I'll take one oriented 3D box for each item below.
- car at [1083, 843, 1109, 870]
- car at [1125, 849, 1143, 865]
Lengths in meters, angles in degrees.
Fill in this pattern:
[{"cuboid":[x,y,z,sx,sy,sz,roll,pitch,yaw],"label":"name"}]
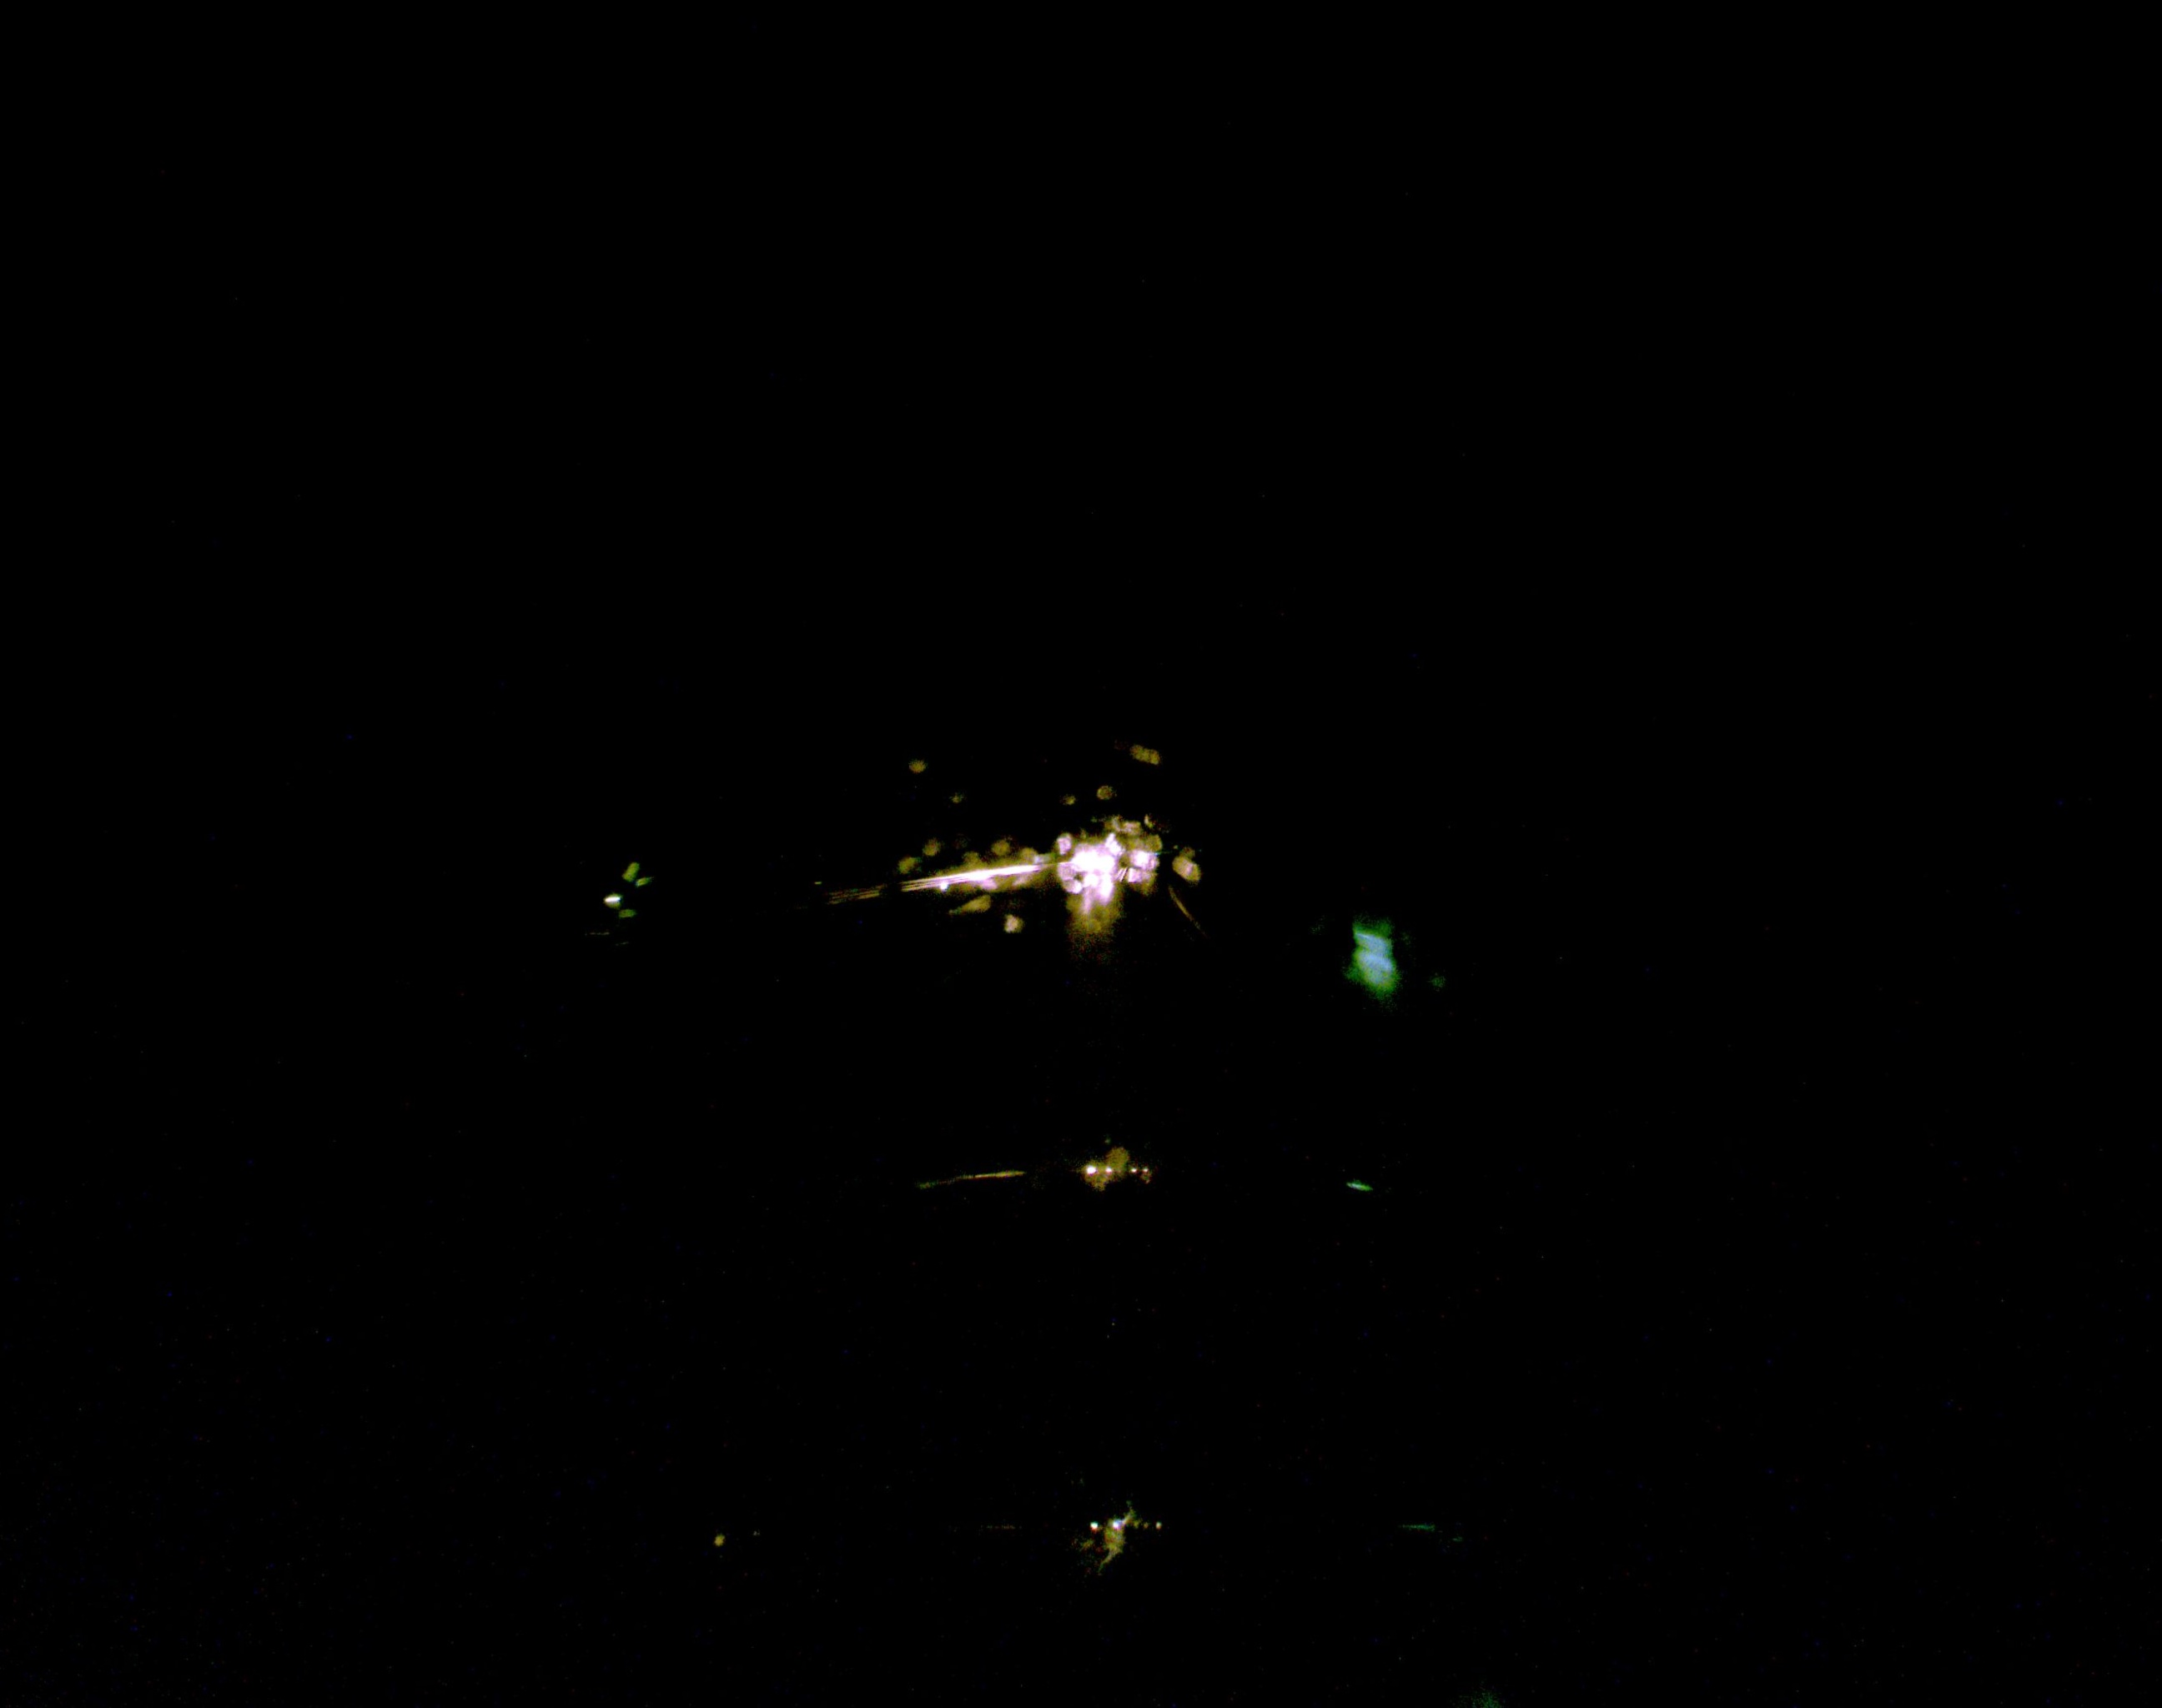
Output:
[{"cuboid":[1.140,0.168,58.983,1.750,1.868,4.003,-1,0,3],"label":"car"},{"cuboid":[6.294,0.302,96.249,1.985,1.655,4.005,-5,1,4],"label":"car"}]
